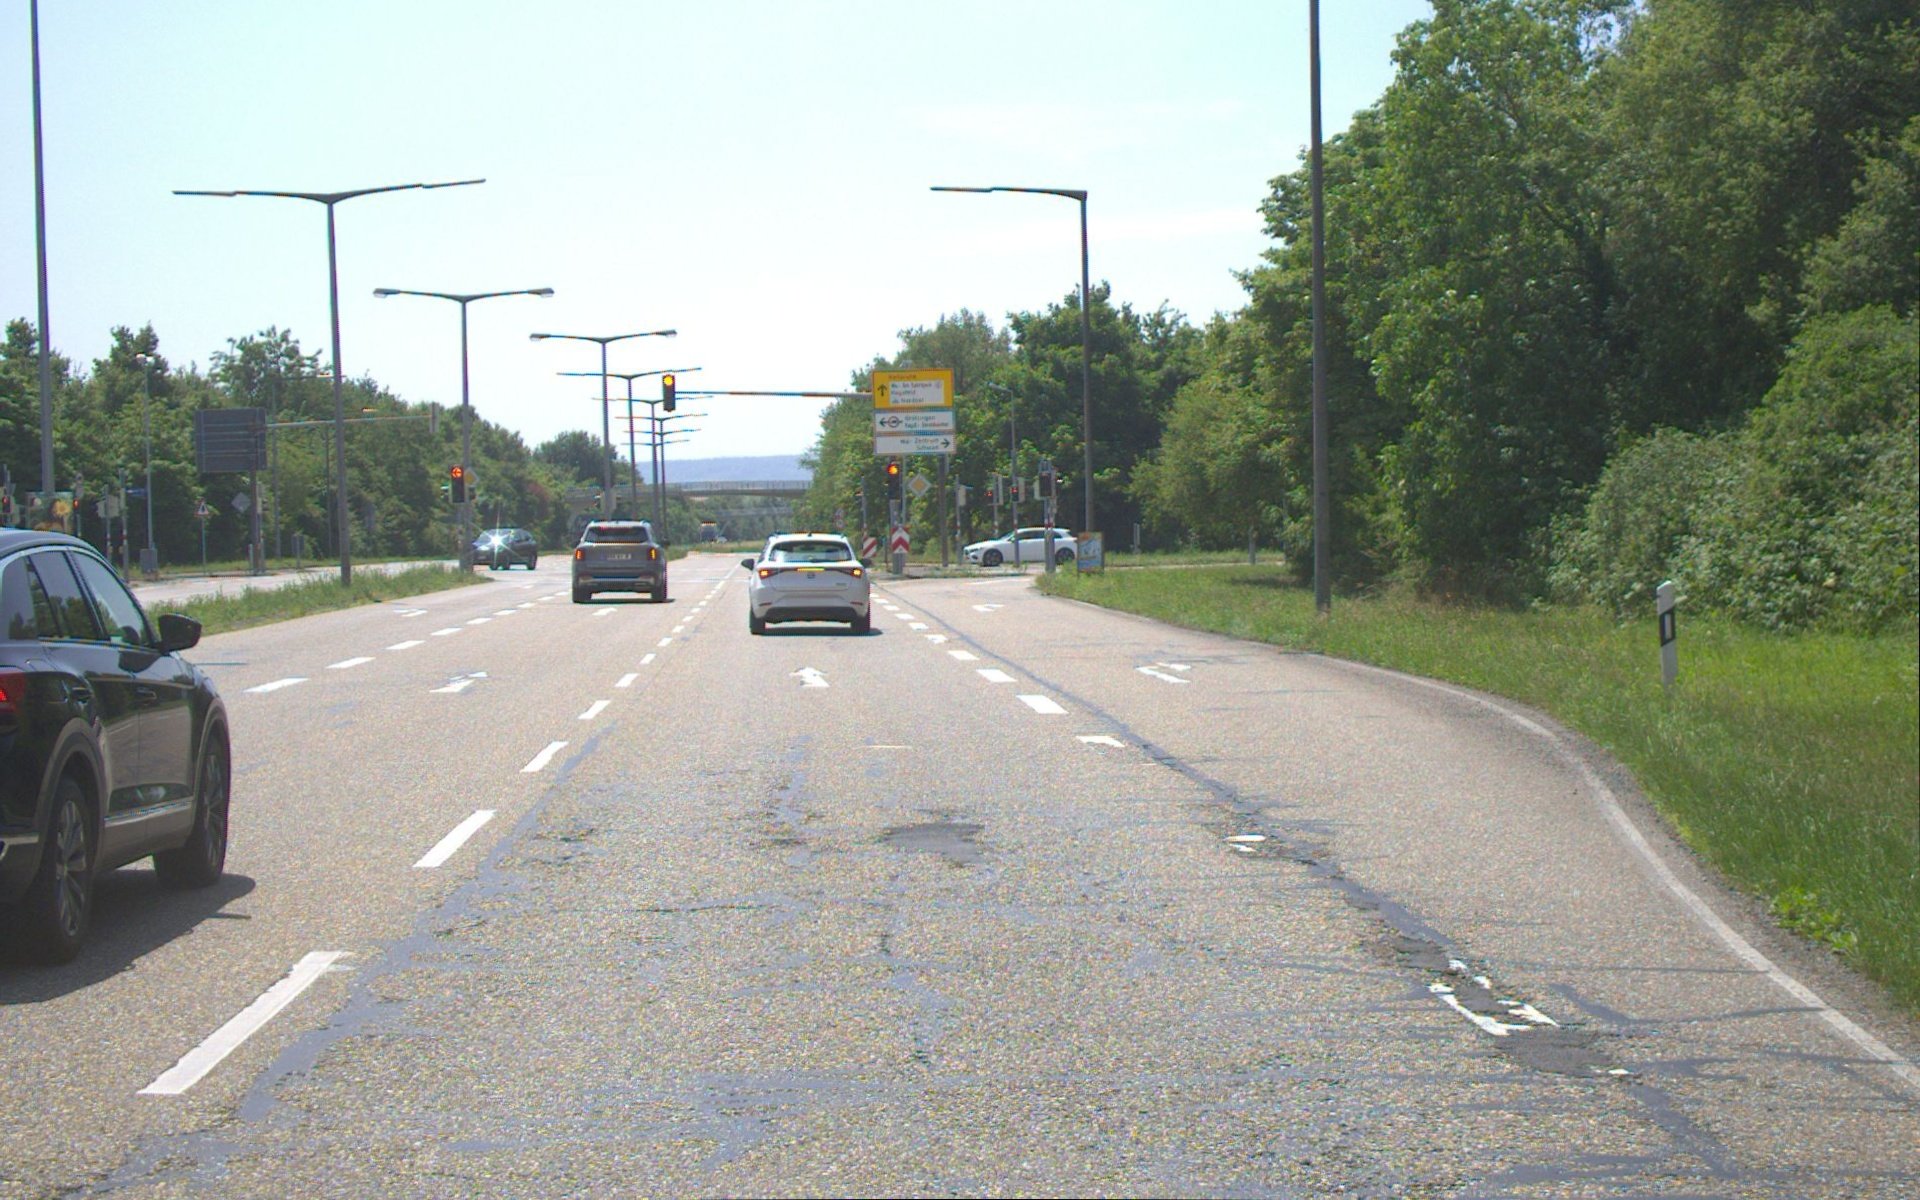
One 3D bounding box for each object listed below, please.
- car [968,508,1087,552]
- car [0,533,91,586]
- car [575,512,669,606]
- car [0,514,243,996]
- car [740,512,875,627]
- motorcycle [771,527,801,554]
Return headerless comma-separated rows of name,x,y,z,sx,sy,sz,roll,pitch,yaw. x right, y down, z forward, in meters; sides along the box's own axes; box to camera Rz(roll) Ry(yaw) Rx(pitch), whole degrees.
car,2.515,-2.614,128.209,4.100,1.520,1.939,-2,1,-11
car,-30.099,-1.284,109.352,4.522,1.635,1.978,-1,1,-7
car,-7.142,-0.885,72.917,1.755,1.922,4.001,-1,1,-3
car,-3.944,0.474,13.036,1.755,1.550,4.001,-1,1,-3
car,-2.196,-0.467,50.542,1.797,1.577,4.000,-2,1,0
motorcycle,-8.659,-2.981,171.043,1.424,1.276,2.569,-3,1,-3
